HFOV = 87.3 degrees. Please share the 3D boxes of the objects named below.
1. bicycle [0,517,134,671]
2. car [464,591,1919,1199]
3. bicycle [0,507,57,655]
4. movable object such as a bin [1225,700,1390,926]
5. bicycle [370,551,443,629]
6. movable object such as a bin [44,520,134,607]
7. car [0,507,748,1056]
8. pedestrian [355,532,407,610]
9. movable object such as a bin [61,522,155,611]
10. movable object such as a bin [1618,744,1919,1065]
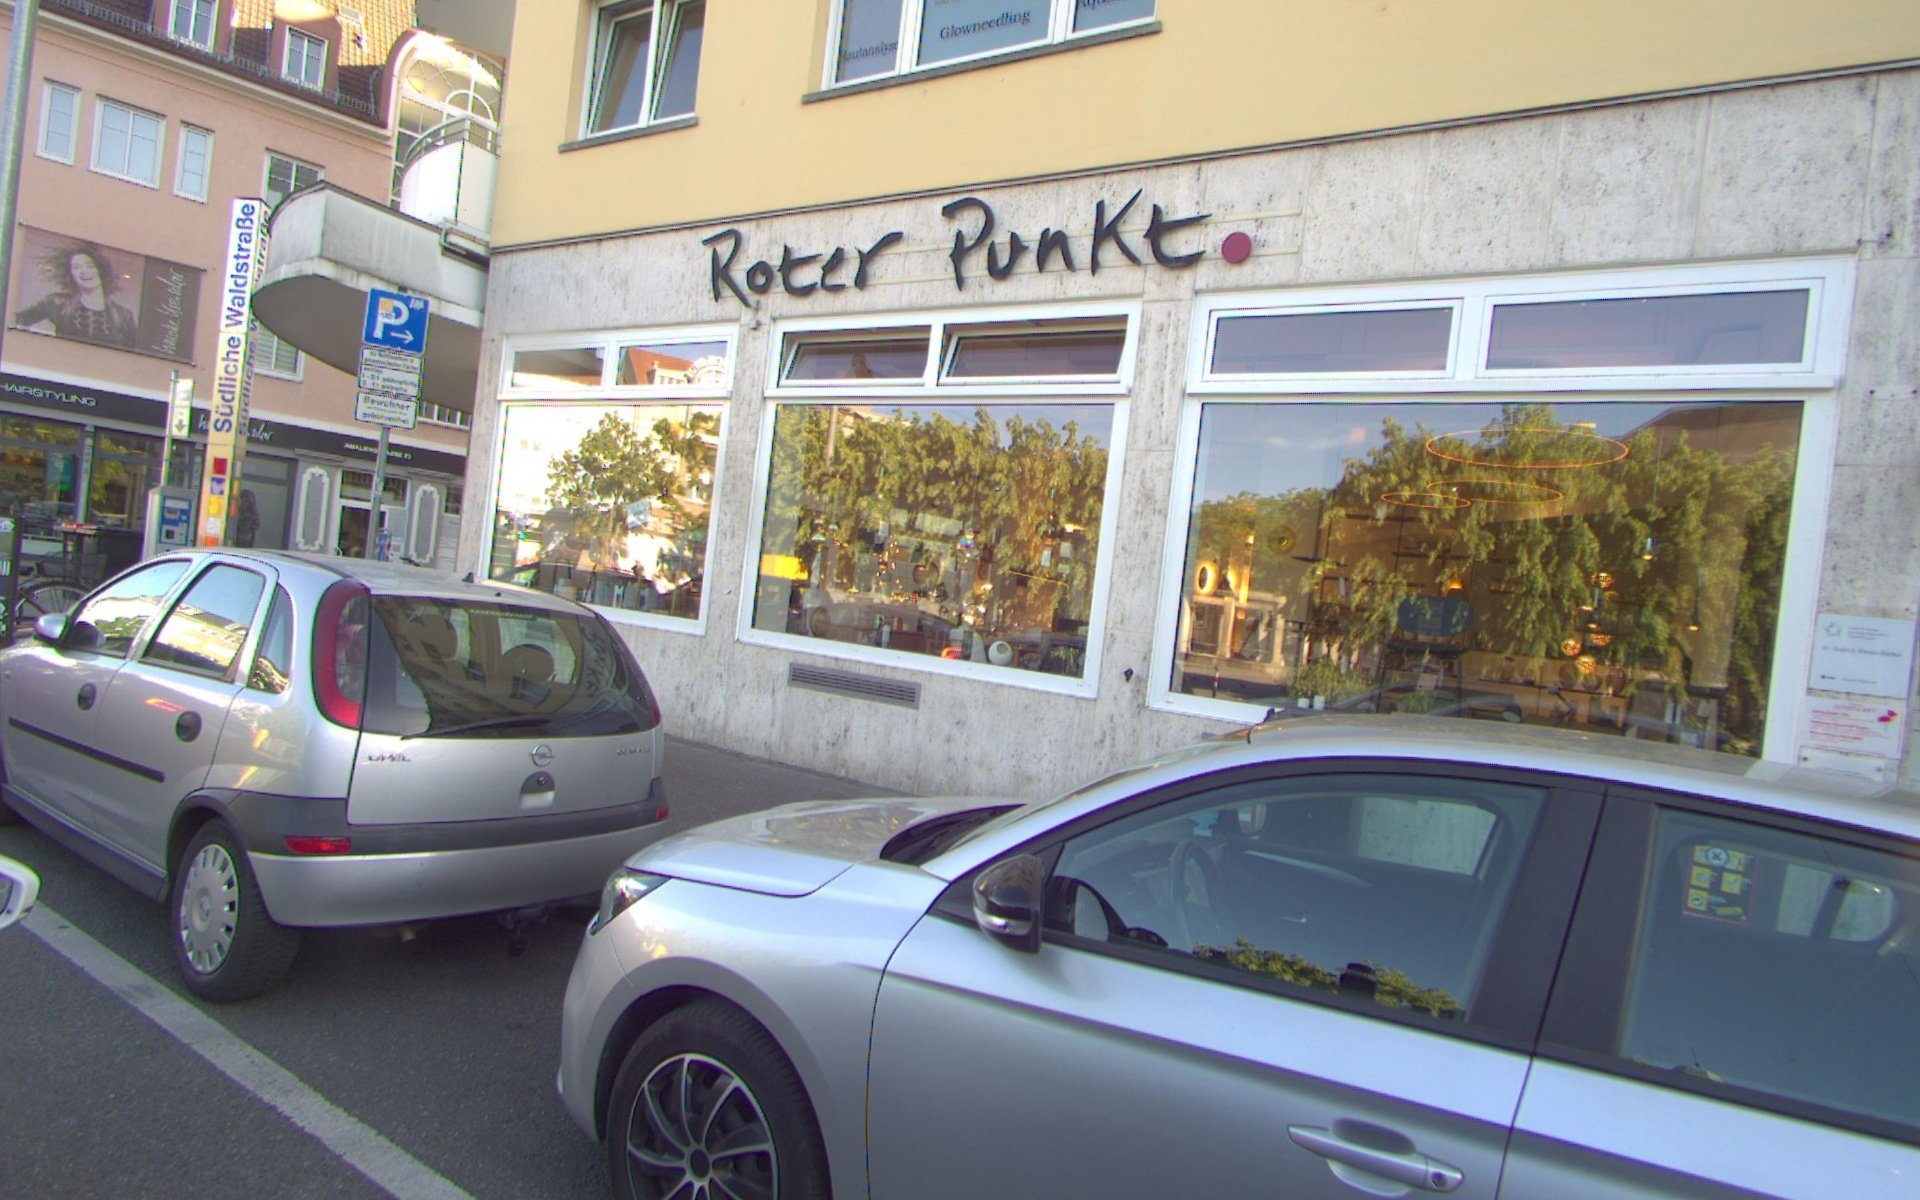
[{"bbox_3d":[-8.060,-0.078,8.202,0.681,1.208,1.885,8,1,37],"label":"bicycle"},{"bbox_3d":[0.834,0.933,2.302,3.642,1.415,1.653,7,-1,29],"label":"car"},{"bbox_3d":[-9.065,-0.229,8.676,0.778,1.284,1.721,7,1,37],"label":"bicycle"},{"bbox_3d":[1.914,1.107,5.495,0.592,1.041,0.811,7,0,32],"label":"movable object such as a bin"},{"bbox_3d":[-9.861,-0.204,17.879,0.656,1.213,2.187,7,-1,-39],"label":"bicycle"},{"bbox_3d":[-12.392,-0.520,14.324,0.617,1.105,0.734,6,-1,34],"label":"movable object such as a bin"},{"bbox_3d":[-2.888,0.487,4.448,3.583,1.397,1.616,7,-2,32],"label":"car"},{"bbox_3d":[-12.594,-0.630,21.876,0.743,1.571,0.692,7,0,-37],"label":"pedestrian"},{"bbox_3d":[-11.856,-0.462,14.003,0.617,1.105,0.754,6,-1,34],"label":"movable object such as a bin"},{"bbox_3d":[3.501,1.252,4.430,0.879,1.066,0.751,7,0,32],"label":"movable object such as a bin"}]
